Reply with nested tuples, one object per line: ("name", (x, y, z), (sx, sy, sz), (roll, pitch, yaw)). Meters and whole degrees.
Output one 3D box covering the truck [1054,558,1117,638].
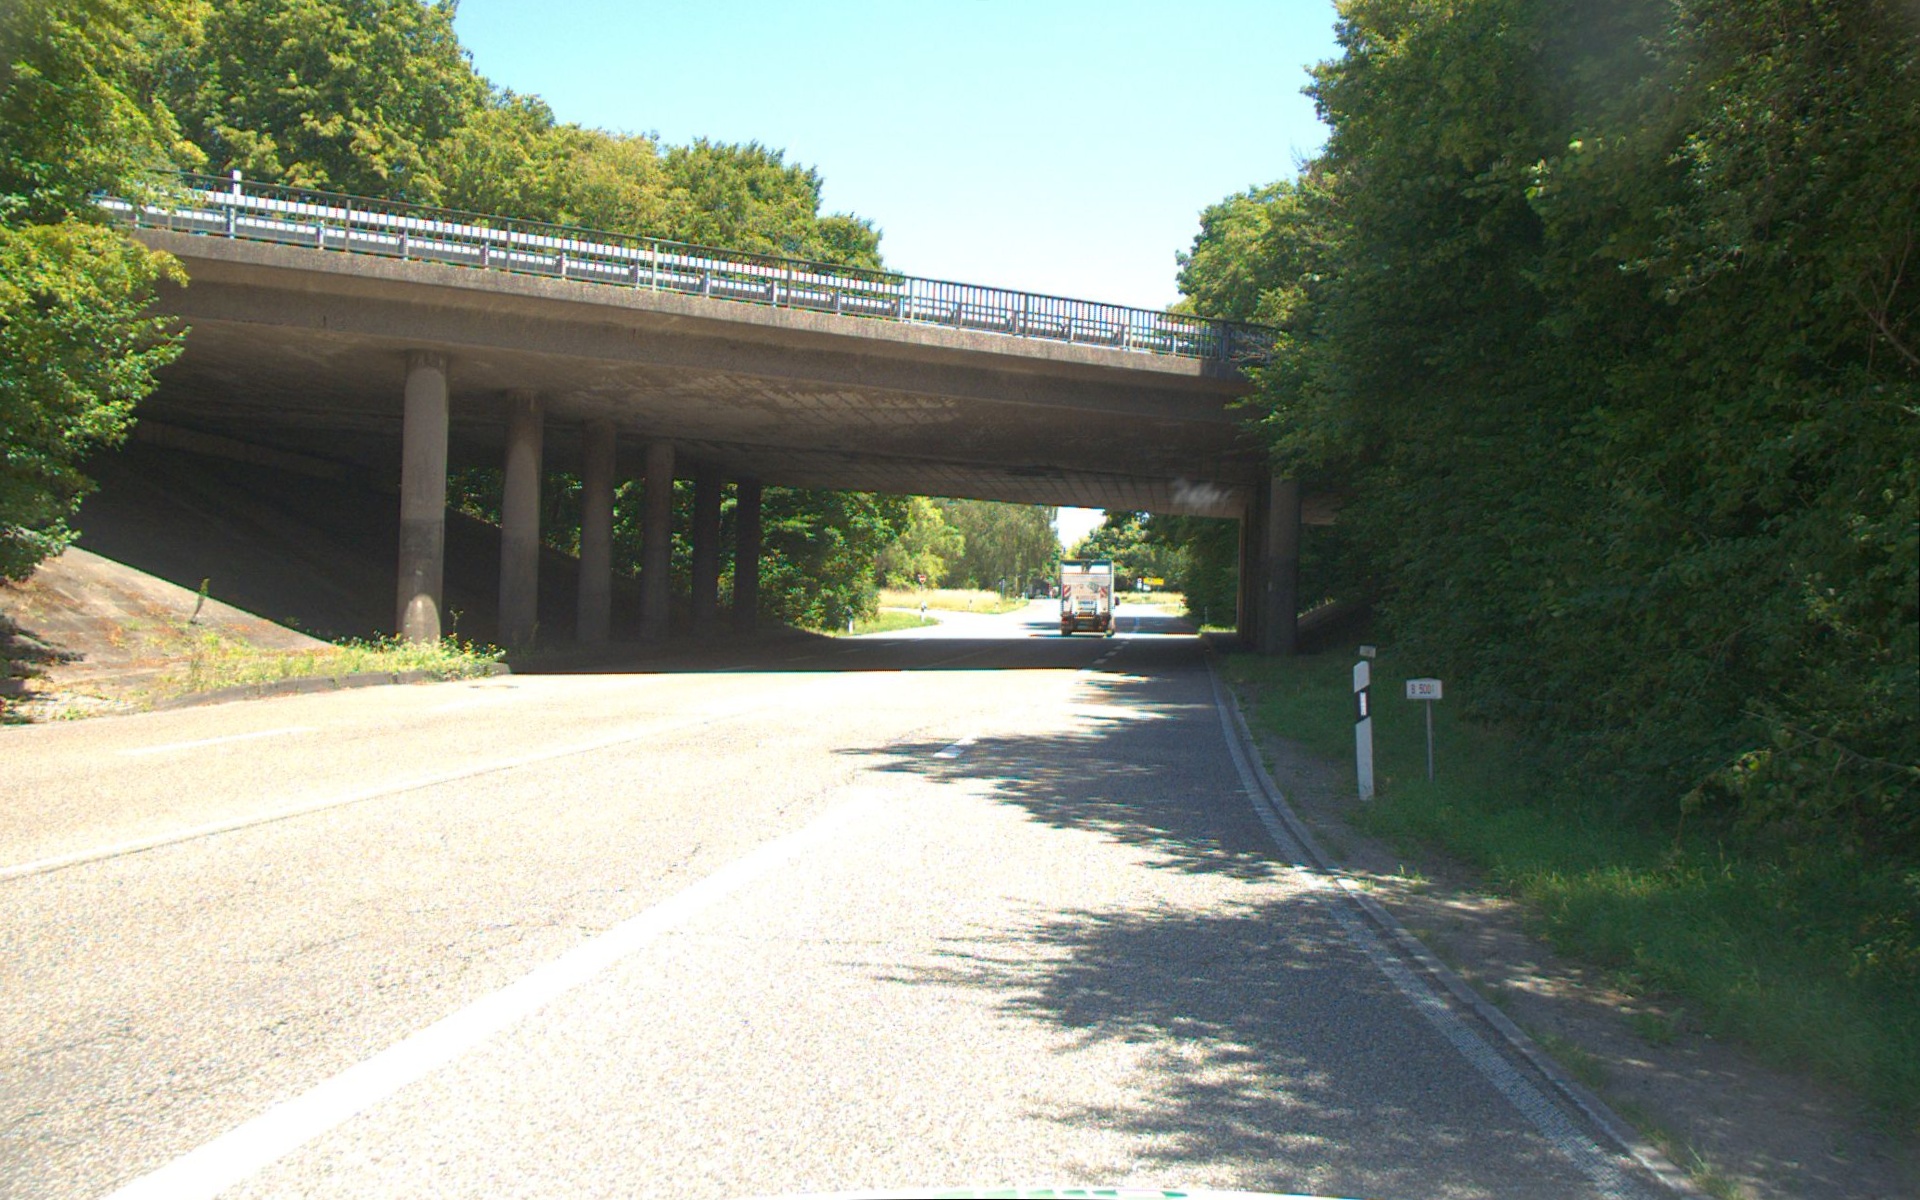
("truck", (5.071, -0.063, 66.216), (2.193, 3.037, 5.899), (1, 0, 7))
